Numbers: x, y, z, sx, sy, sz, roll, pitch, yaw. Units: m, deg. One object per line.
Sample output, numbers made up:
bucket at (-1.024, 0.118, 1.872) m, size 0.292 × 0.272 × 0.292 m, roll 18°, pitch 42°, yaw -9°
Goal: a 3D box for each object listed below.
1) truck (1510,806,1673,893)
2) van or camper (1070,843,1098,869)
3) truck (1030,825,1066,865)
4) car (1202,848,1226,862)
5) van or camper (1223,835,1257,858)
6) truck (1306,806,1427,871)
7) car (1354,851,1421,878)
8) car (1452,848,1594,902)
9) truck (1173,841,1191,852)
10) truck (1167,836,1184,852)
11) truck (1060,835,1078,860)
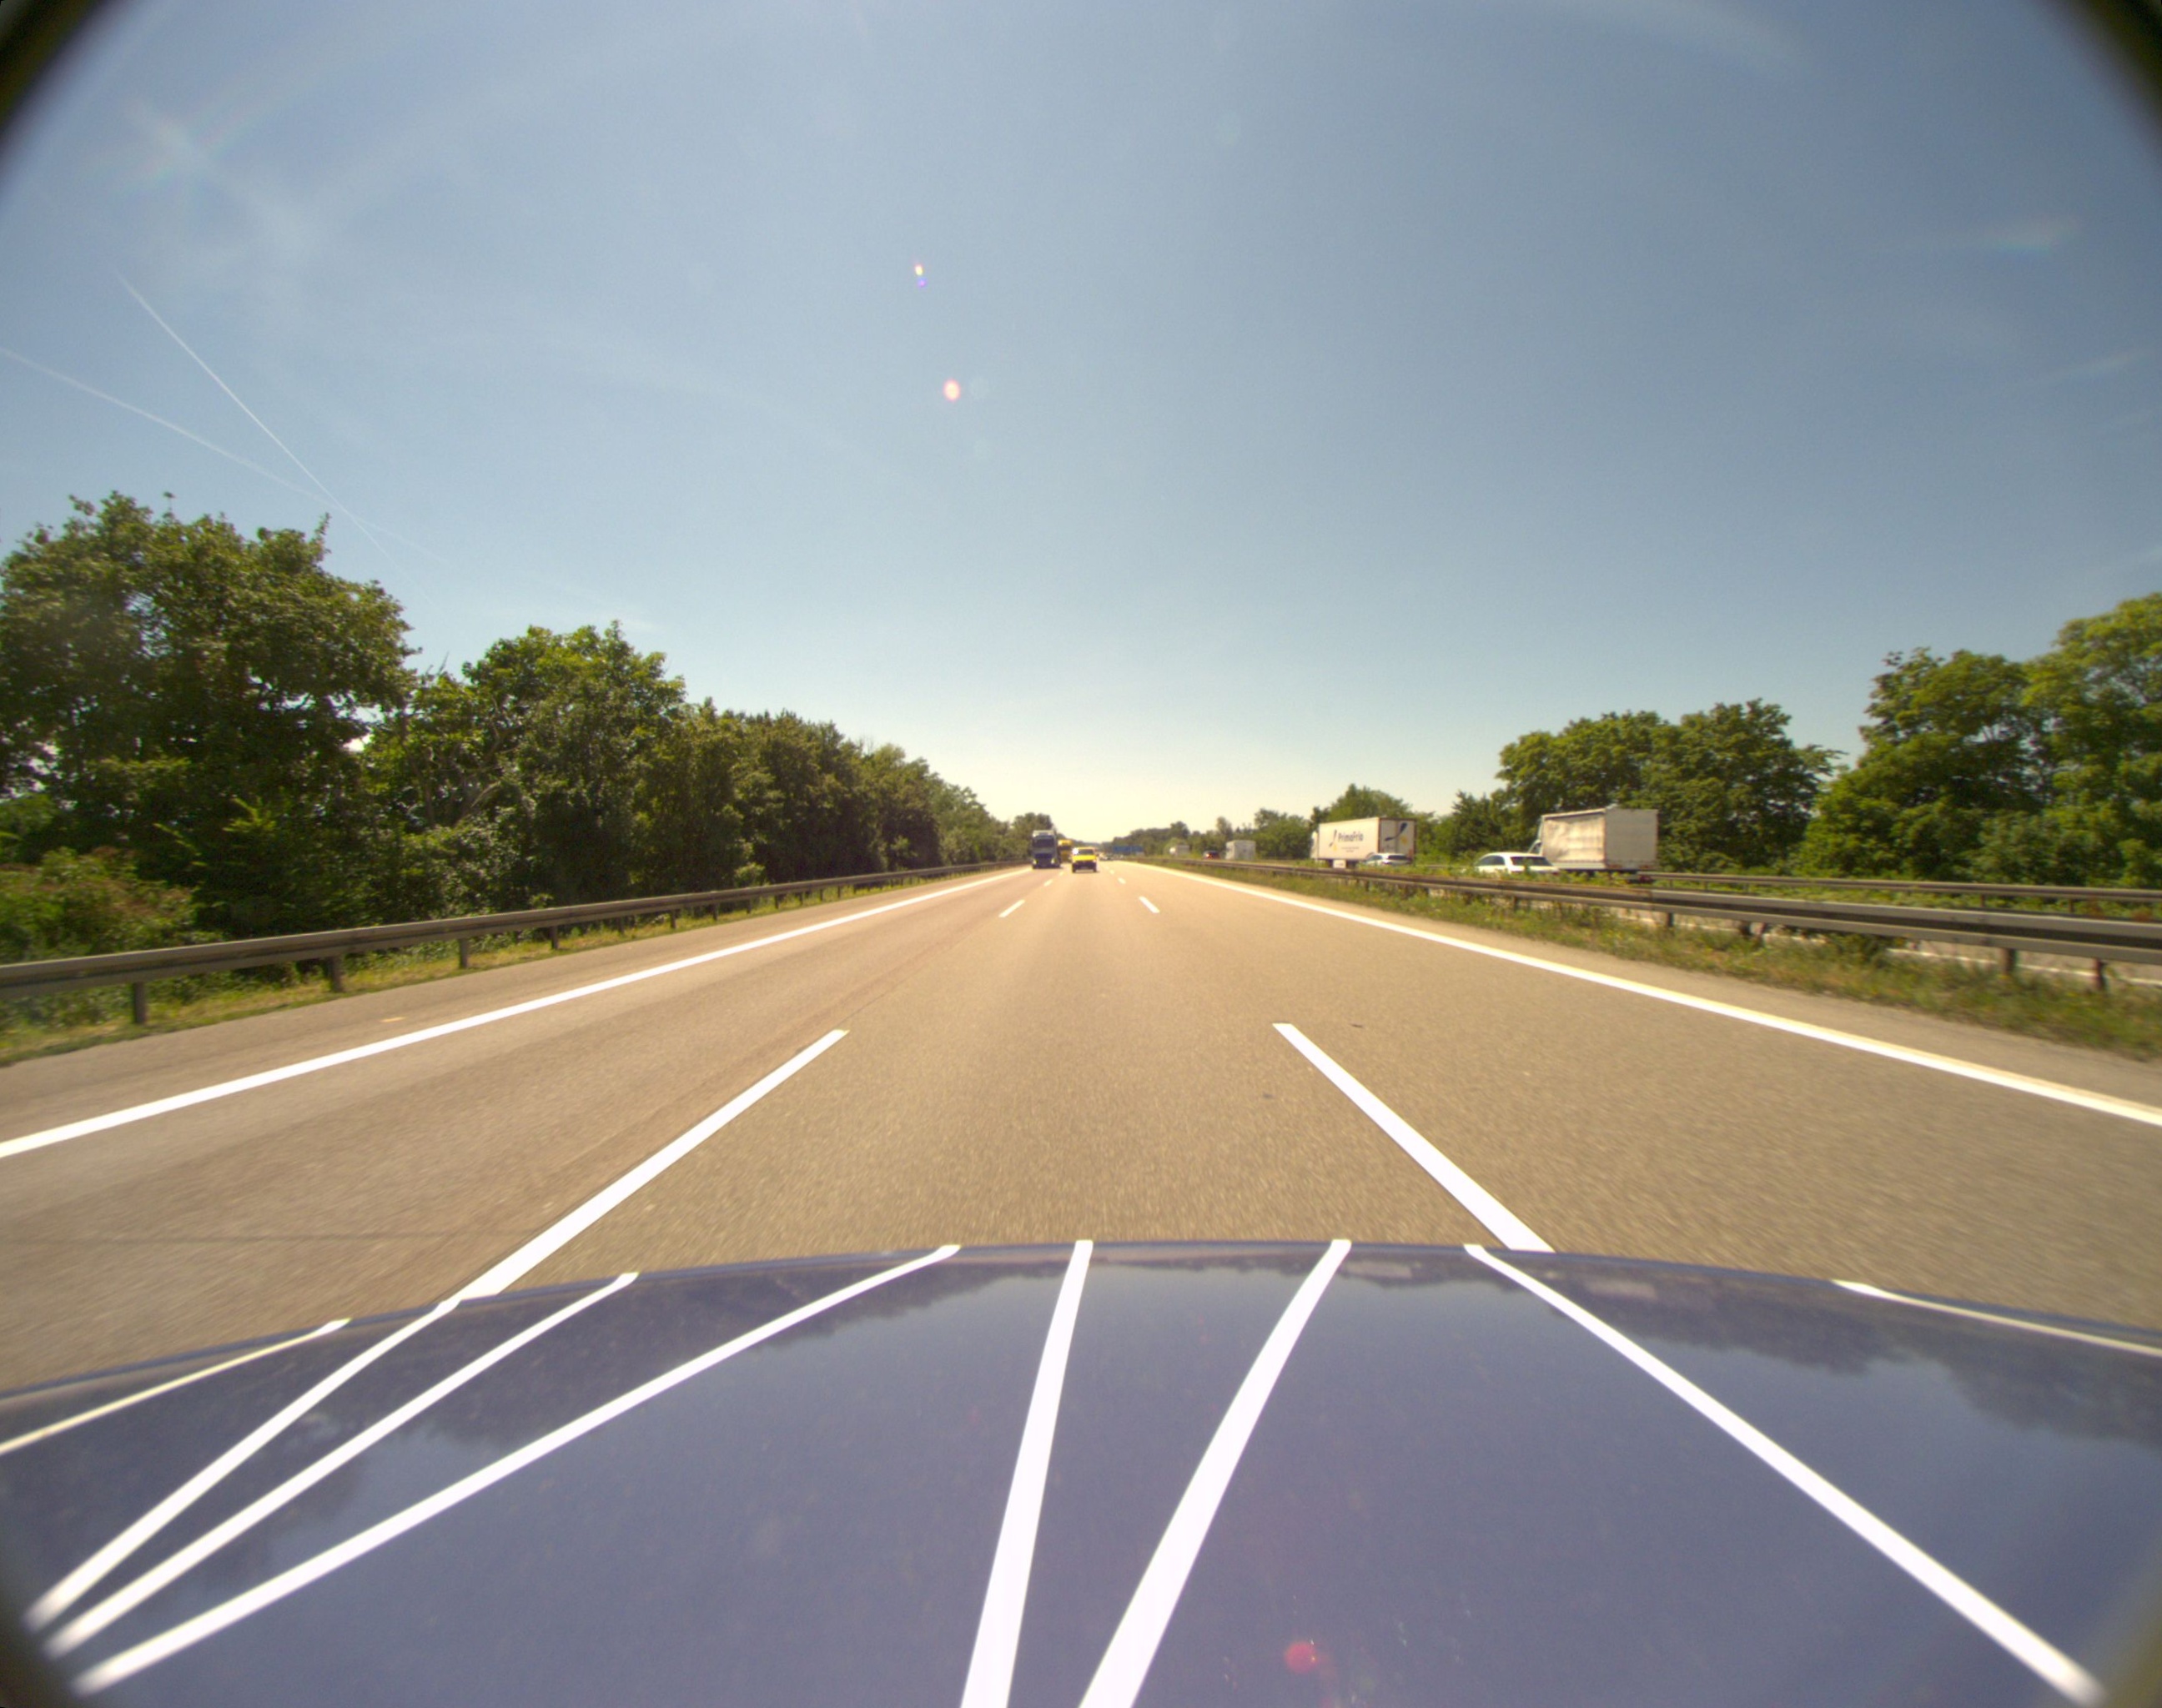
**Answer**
truck at (22.351, -0.206, 33.886) m, size 2.375 × 3.445 × 7.422 m, roll -1°, pitch 1°, yaw 1°
van or camper at (0.238, 0.170, 58.469) m, size 1.998 × 1.898 × 4.971 m, roll -2°, pitch 0°, yaw 0°
truck at (-3.481, -0.920, 84.132) m, size 2.977 × 3.934 × 16.612 m, roll -2°, pitch 0°, yaw 0°
car at (14.334, 0.075, 82.137) m, size 1.998 × 1.510 × 4.000 m, roll -1°, pitch 1°, yaw 1°
van or camper at (18.363, -0.814, 88.074) m, size 2.474 × 2.545 × 7.808 m, roll 0°, pitch 0°, yaw 1°
truck at (22.139, -1.118, 60.822) m, size 3.224 × 4.352 × 17.191 m, roll 3°, pitch 0°, yaw 1°
car at (17.950, 0.557, 44.785) m, size 1.998 × 1.475 × 4.945 m, roll -1°, pitch 1°, yaw 1°
car at (13.616, 0.576, 23.723) m, size 1.998 × 1.501 × 4.242 m, roll 0°, pitch 1°, yaw 1°
truck at (18.969, -1.386, 143.070) m, size 2.735 × 2.055 × 7.138 m, roll 0°, pitch 0°, yaw 2°
truck at (24.144, -2.586, 194.188) m, size 2.735 × 4.029 × 15.935 m, roll 0°, pitch 1°, yaw 1°
truck at (-2.160, -1.086, 137.654) m, size 2.852 × 4.232 × 16.790 m, roll 0°, pitch 0°, yaw 0°
